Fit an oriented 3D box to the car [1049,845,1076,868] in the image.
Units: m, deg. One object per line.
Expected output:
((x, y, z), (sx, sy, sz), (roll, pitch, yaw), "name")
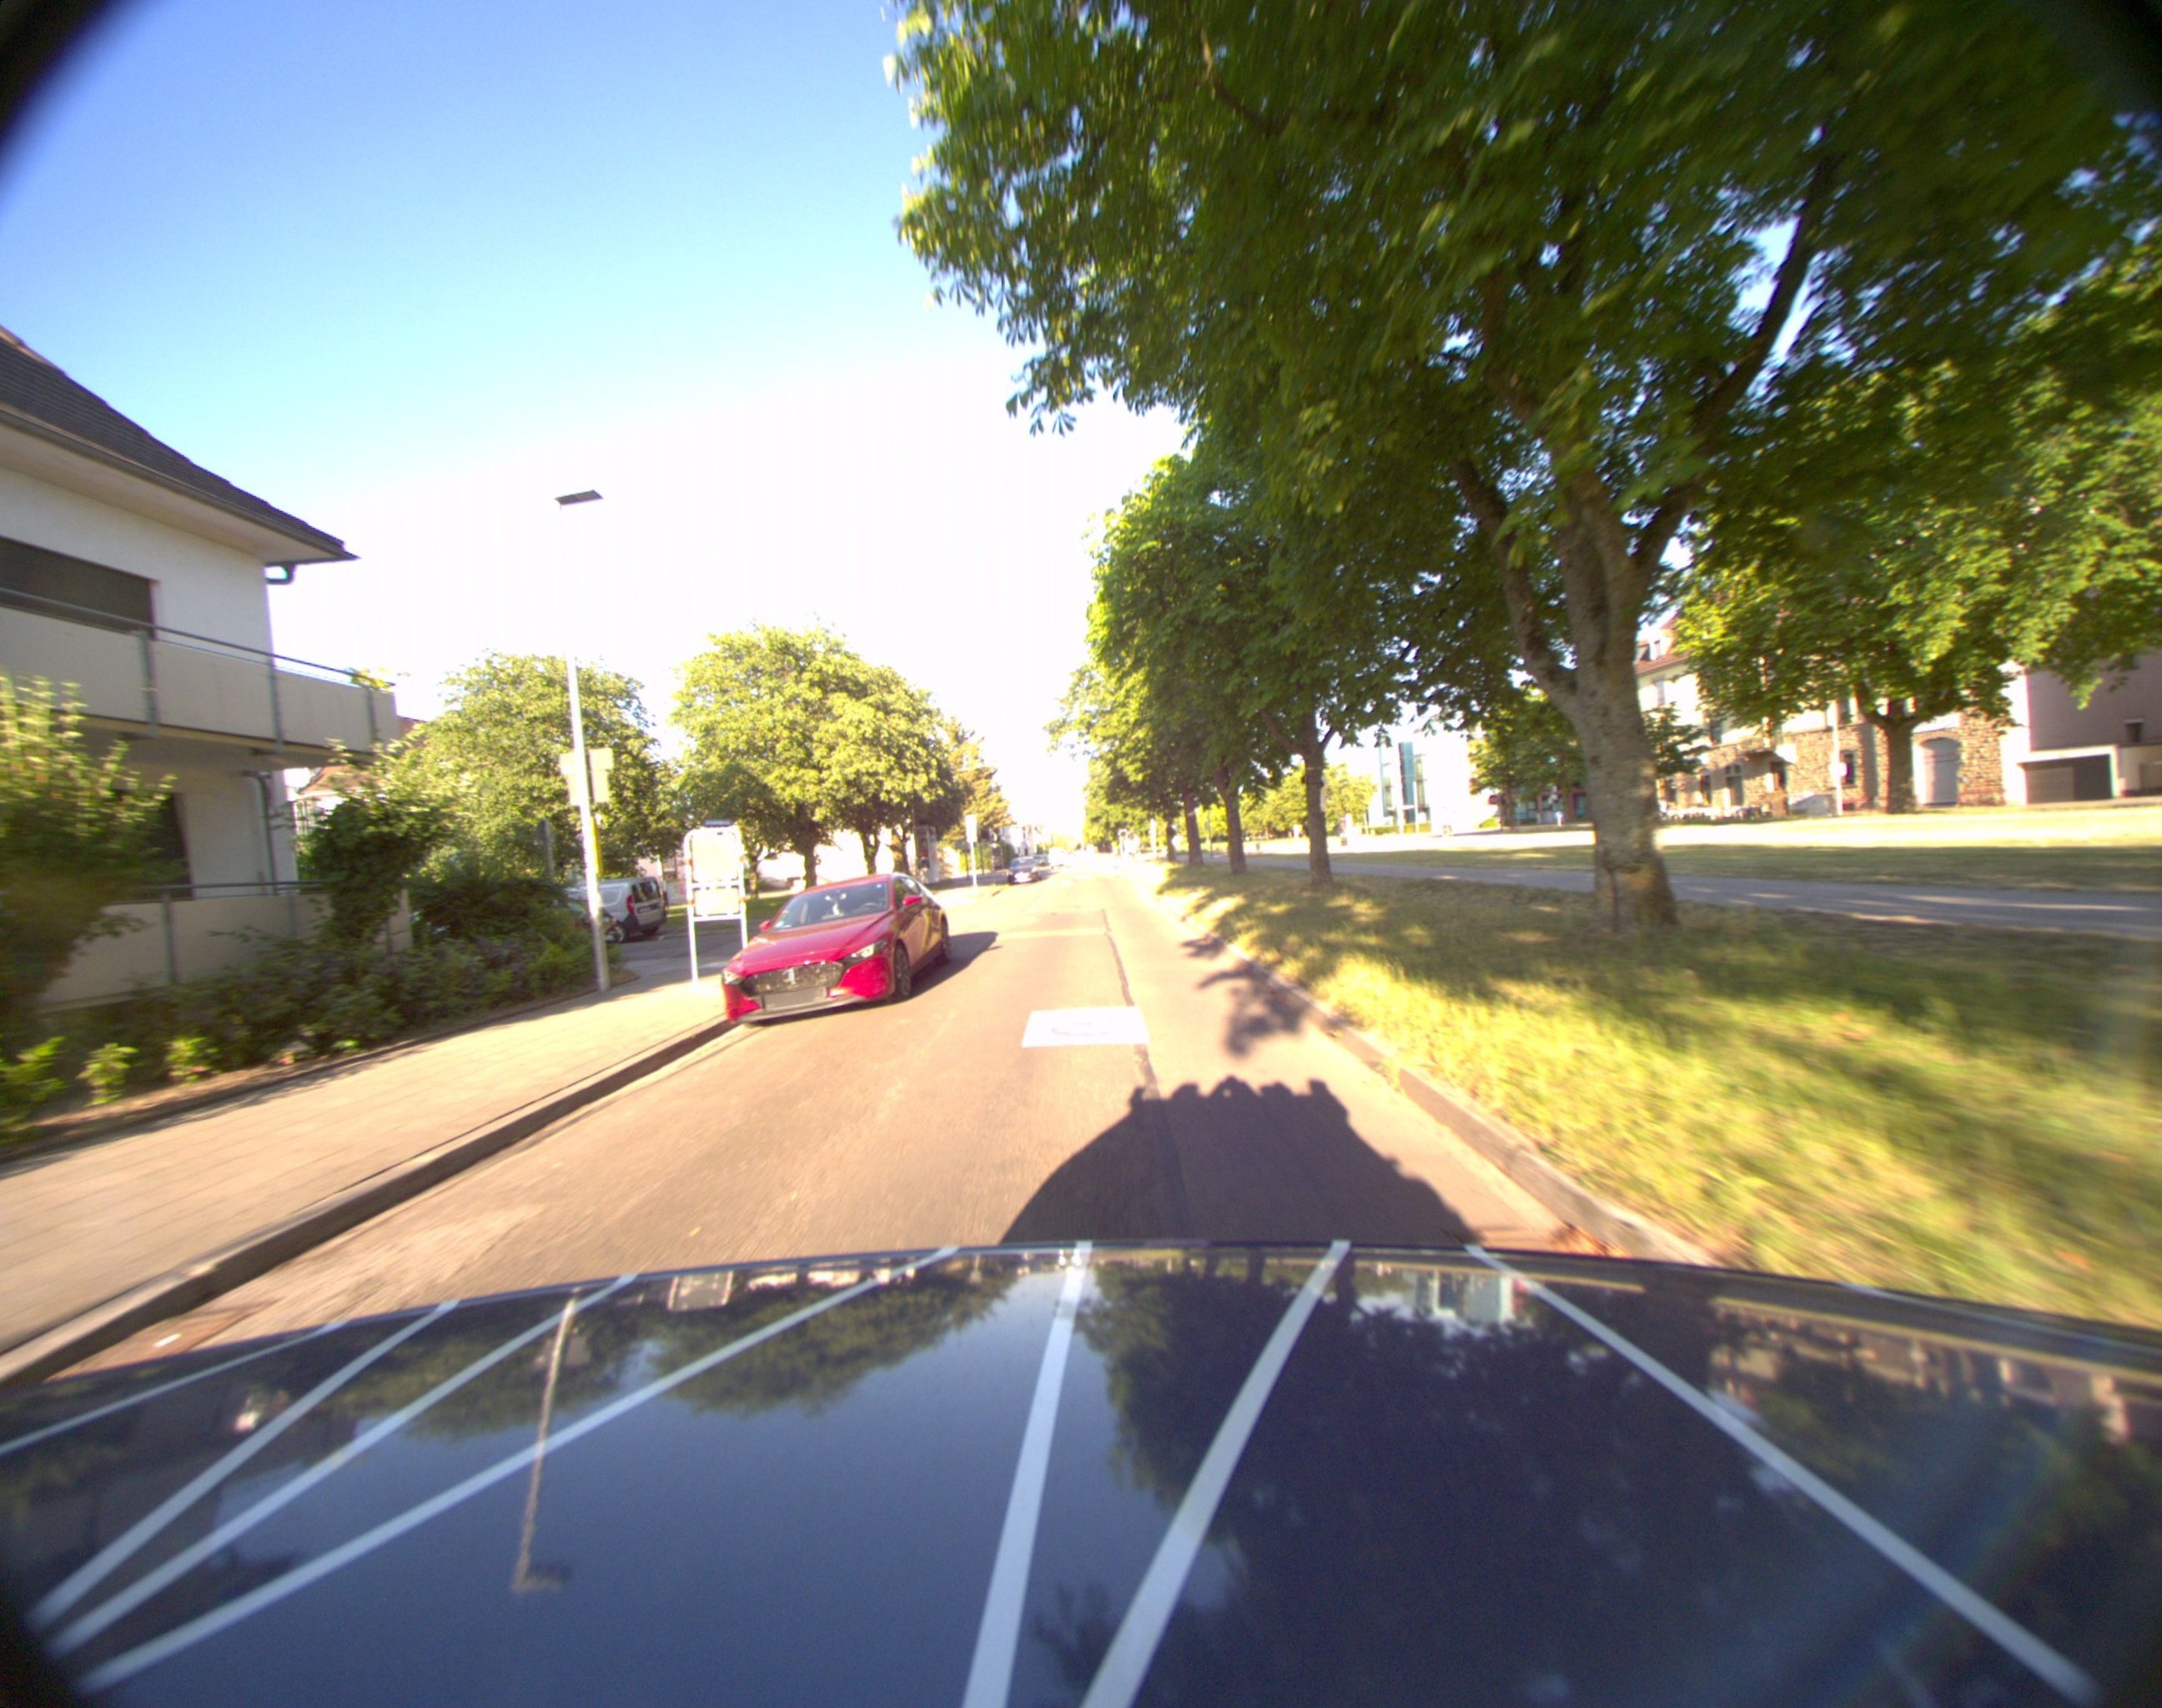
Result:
((-1.880, 0.227, 76.236), (1.999, 1.776, 3.995), (-8, 4, -7), "car")

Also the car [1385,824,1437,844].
((39.349, -2.404, 90.739), (5.220, 1.662, 1.999), (-7, 2, -2), "car")

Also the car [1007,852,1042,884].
((-3.235, 0.768, 43.421), (1.730, 1.502, 4.538), (-7, 1, -4), "car")

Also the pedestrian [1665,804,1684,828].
((42.268, -2.730, 54.105), (0.617, 1.615, 0.682), (-7, 2, -1), "pedestrian")

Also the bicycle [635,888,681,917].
((-21.263, 2.425, 38.257), (0.573, 1.177, 1.907), (-6, 1, 25), "bicycle")

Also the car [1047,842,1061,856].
((-5.309, -1.014, 150.280), (2.132, 2.461, 5.723), (-7, 1, 0), "car")

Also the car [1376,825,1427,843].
((39.209, -2.471, 93.015), (5.221, 1.662, 1.966), (-7, 2, -4), "car")

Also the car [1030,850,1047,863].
((-5.251, 0.300, 94.241), (2.009, 1.490, 4.914), (-3, 0, -2), "car")

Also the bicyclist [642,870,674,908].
((-21.313, 1.755, 38.251), (0.815, 1.722, 0.895), (-6, 2, 25), "bicyclist")

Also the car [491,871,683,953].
((-14.768, 1.705, 22.907), (4.252, 1.864, 2.030), (-6, 2, 0), "car")

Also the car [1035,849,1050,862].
((-5.478, 0.181, 108.935), (1.796, 1.586, 4.077), (-7, 0, 0), "car")

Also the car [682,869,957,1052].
((-2.819, 1.058, 9.311), (1.714, 1.352, 4.202), (-7, 1, 1), "car")

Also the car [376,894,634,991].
((-11.991, 1.820, 16.010), (3.997, 1.438, 1.715), (-5, 2, 0), "car")
